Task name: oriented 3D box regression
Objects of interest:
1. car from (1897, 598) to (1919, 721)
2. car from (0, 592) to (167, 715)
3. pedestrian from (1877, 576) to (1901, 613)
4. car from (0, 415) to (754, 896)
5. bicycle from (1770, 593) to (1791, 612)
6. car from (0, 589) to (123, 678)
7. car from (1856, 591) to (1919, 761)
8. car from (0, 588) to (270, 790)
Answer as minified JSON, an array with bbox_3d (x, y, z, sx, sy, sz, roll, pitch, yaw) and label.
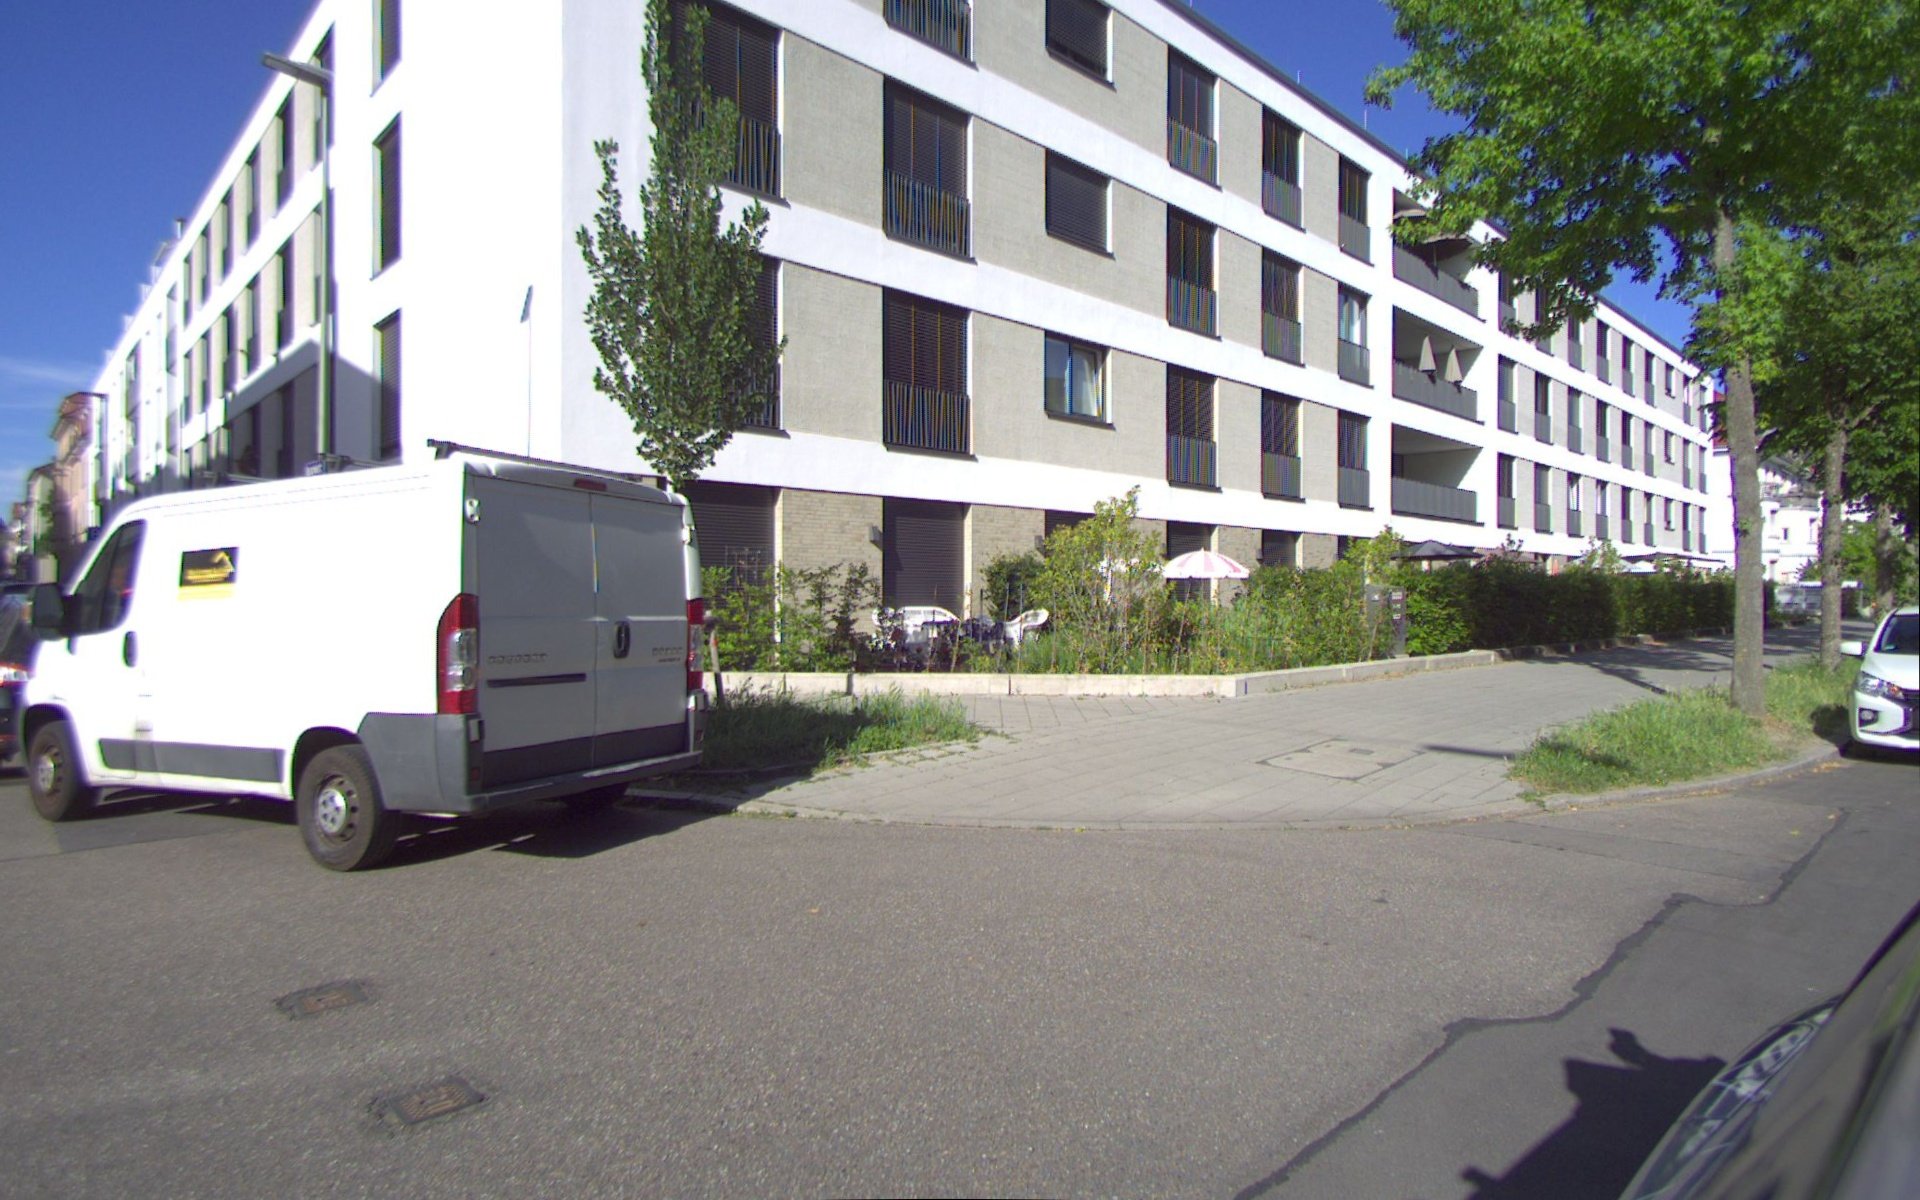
[{"bbox_3d":[13.513,0.695,13.200,4.110,1.469,1.671,-1,-1,-44],"label":"car"},{"bbox_3d":[-12.690,0.637,14.276,1.928,1.447,4.933,2,-1,-43],"label":"car"},{"bbox_3d":[52.973,-0.327,57.706,0.989,2.039,0.906,0,1,-42],"label":"pedestrian"},{"bbox_3d":[-4.132,0.229,6.982,5.002,2.335,2.216,1,1,25],"label":"car"},{"bbox_3d":[38.990,0.101,48.074,1.582,0.905,0.564,0,0,-43],"label":"bicycle"},{"bbox_3d":[-17.289,0.570,19.050,1.933,1.488,4.929,0,0,-45],"label":"car"},{"bbox_3d":[10.262,0.669,10.096,3.944,1.506,1.733,-1,0,-45],"label":"car"},{"bbox_3d":[-8.452,0.646,9.911,2.014,1.488,4.931,0,1,-44],"label":"car"}]
